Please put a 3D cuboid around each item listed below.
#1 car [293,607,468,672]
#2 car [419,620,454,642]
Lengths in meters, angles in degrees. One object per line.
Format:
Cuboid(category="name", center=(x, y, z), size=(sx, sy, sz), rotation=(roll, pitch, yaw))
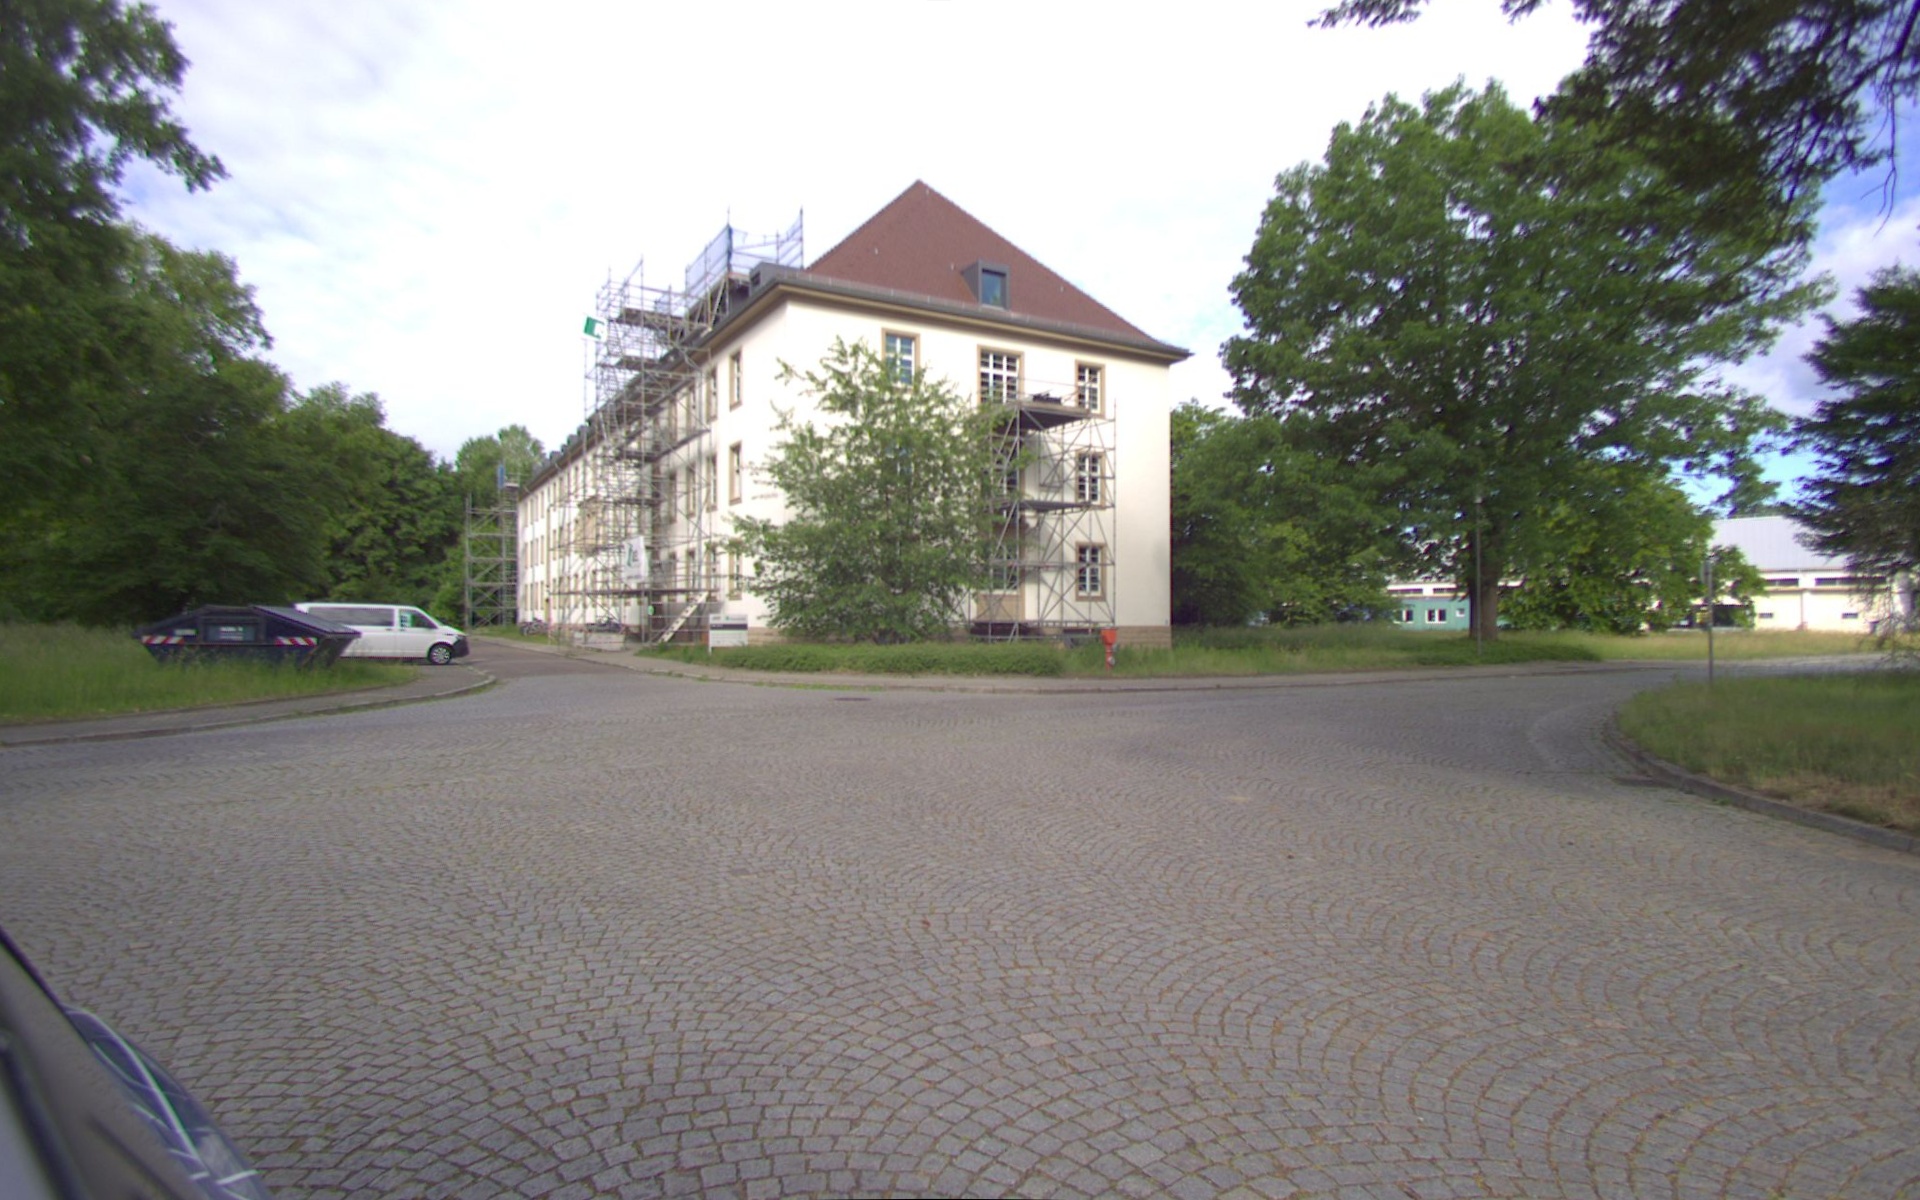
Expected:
Cuboid(category="car", center=(-18.894, 1.256, 33.115), size=(4.836, 2.010, 2.005), rotation=(1, -2, -33))
Cuboid(category="car", center=(-48.081, 2.821, 92.904), size=(1.997, 1.941, 4.005), rotation=(1, -2, -41))
